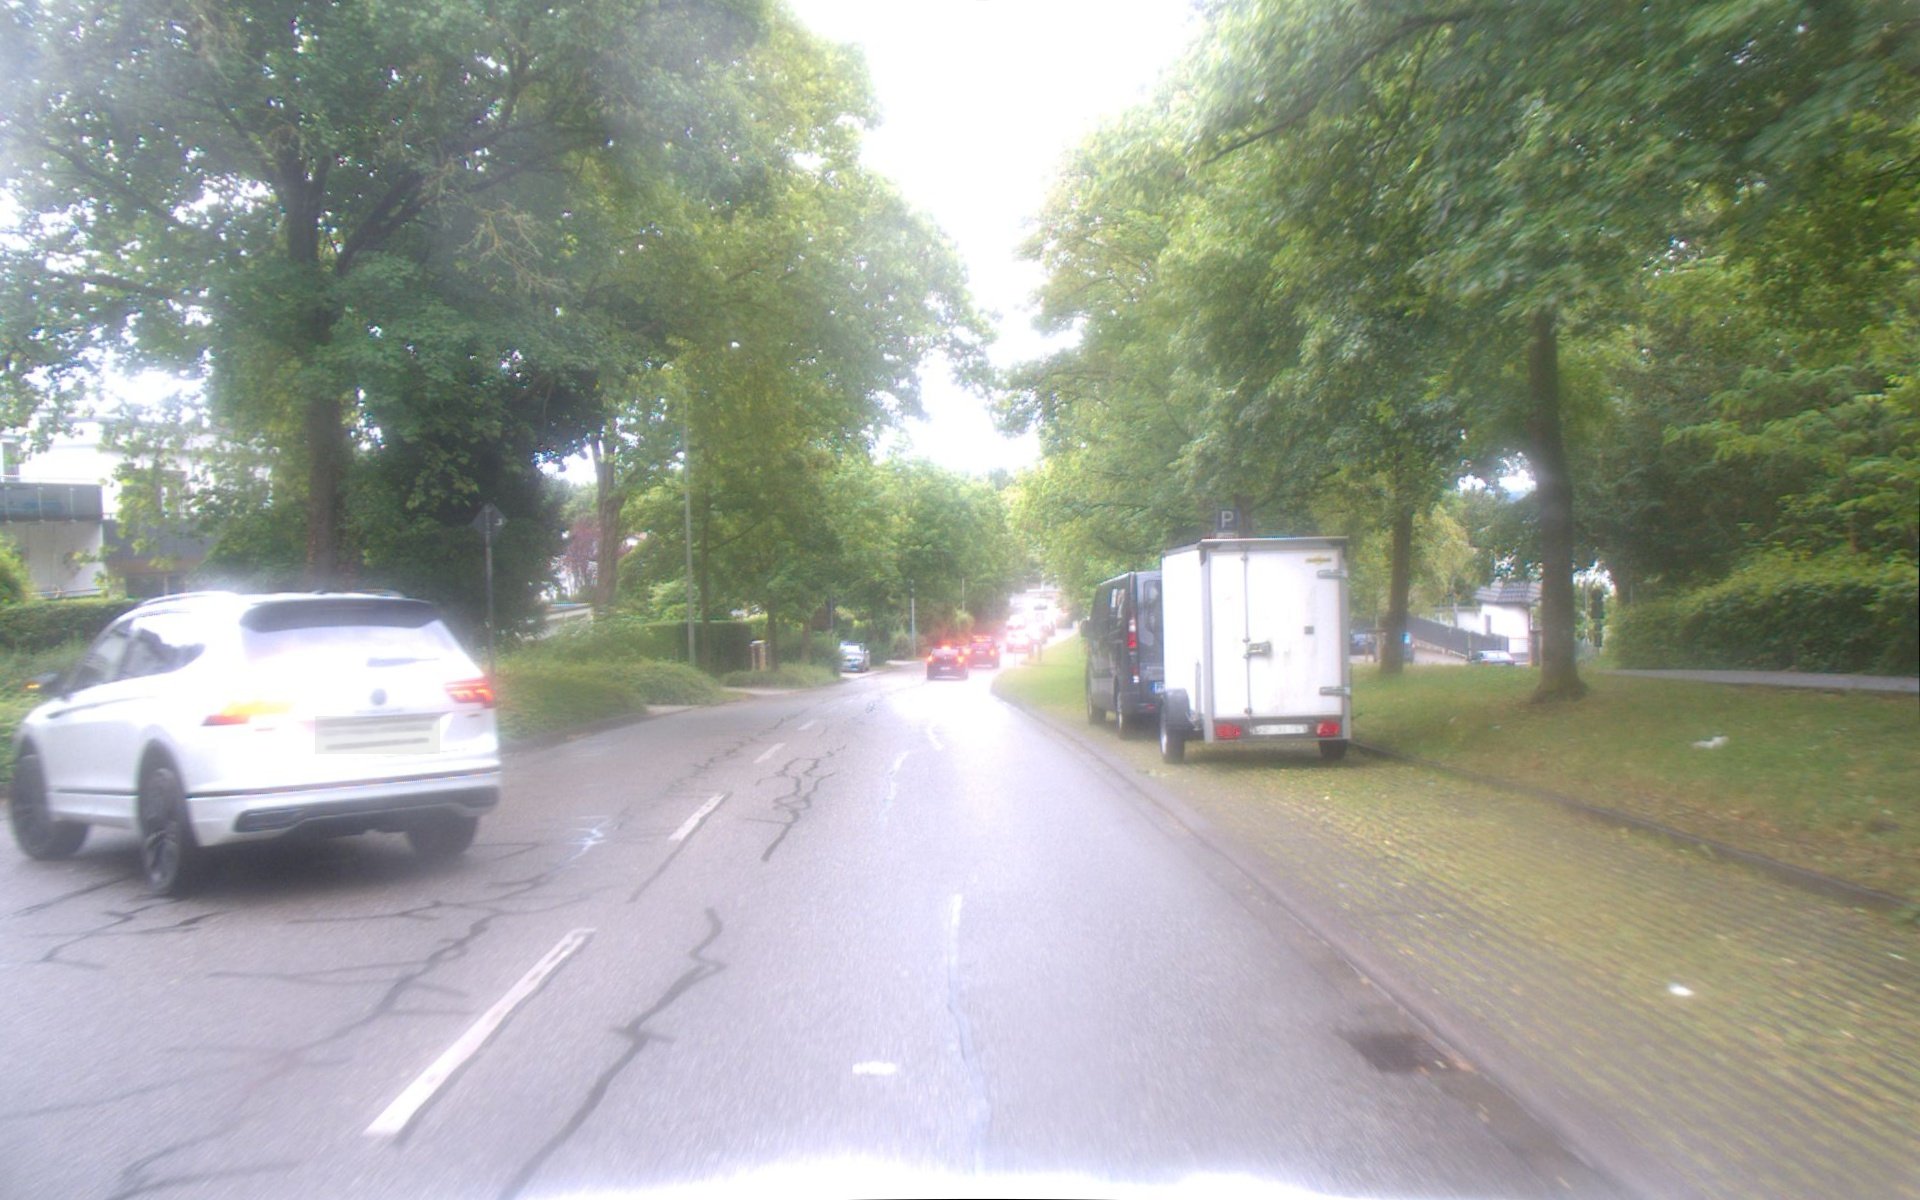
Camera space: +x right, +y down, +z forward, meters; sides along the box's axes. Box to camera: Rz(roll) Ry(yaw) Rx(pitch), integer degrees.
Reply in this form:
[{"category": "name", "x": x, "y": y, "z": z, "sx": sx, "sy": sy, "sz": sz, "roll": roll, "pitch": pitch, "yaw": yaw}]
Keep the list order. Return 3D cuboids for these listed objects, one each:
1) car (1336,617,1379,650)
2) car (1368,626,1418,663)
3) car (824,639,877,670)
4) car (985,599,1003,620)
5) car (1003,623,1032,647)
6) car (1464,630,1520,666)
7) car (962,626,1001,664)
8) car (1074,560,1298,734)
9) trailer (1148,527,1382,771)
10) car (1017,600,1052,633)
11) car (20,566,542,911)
[{"category": "car", "x": 27.639, "y": 2.309, "z": 115.094, "sx": 1.953, "sy": 2.048, "sz": 4.000, "roll": -2, "pitch": 1, "yaw": -1}, {"category": "car", "x": 26.827, "y": 2.765, "z": 102.666, "sx": 1.953, "sy": 2.048, "sz": 4.000, "roll": -2, "pitch": 1, "yaw": -1}, {"category": "car", "x": -5.899, "y": 2.942, "z": 89.640, "sx": 1.951, "sy": 1.627, "sz": 4.013, "roll": -1, "pitch": -2, "yaw": 10}, {"category": "car", "x": 3.846, "y": 1.023, "z": 187.666, "sx": 1.952, "sy": 2.048, "sz": 4.002, "roll": -1, "pitch": 4, "yaw": 0}, {"category": "car", "x": 4.347, "y": 2.664, "z": 125.448, "sx": 1.819, "sy": 1.721, "sz": 3.997, "roll": -1, "pitch": -1, "yaw": -3}, {"category": "car", "x": 25.416, "y": 2.276, "z": 79.179, "sx": 1.769, "sy": 1.659, "sz": 4.002, "roll": -1, "pitch": -2, "yaw": 7}, {"category": "car", "x": 1.192, "y": 2.553, "z": 94.130, "sx": 1.954, "sy": 2.049, "sz": 3.997, "roll": -1, "pitch": -2, "yaw": -3}, {"category": "car", "x": 2.754, "y": 0.584, "z": 21.518, "sx": 1.953, "sy": 1.943, "sz": 5.506, "roll": -1, "pitch": -1, "yaw": -2}, {"category": "trailer", "x": 2.932, "y": 0.454, "z": 16.681, "sx": 1.499, "sy": 2.112, "sz": 3.999, "roll": -2, "pitch": -1, "yaw": -1}, {"category": "car", "x": 4.835, "y": 1.121, "z": 108.021, "sx": 1.953, "sy": 2.049, "sz": 3.997, "roll": -1, "pitch": -2, "yaw": -2}, {"category": "car", "x": -4.500, "y": 0.760, "z": 10.586, "sx": 1.894, "sy": 1.715, "sz": 4.139, "roll": -2, "pitch": -1, "yaw": -40}]
